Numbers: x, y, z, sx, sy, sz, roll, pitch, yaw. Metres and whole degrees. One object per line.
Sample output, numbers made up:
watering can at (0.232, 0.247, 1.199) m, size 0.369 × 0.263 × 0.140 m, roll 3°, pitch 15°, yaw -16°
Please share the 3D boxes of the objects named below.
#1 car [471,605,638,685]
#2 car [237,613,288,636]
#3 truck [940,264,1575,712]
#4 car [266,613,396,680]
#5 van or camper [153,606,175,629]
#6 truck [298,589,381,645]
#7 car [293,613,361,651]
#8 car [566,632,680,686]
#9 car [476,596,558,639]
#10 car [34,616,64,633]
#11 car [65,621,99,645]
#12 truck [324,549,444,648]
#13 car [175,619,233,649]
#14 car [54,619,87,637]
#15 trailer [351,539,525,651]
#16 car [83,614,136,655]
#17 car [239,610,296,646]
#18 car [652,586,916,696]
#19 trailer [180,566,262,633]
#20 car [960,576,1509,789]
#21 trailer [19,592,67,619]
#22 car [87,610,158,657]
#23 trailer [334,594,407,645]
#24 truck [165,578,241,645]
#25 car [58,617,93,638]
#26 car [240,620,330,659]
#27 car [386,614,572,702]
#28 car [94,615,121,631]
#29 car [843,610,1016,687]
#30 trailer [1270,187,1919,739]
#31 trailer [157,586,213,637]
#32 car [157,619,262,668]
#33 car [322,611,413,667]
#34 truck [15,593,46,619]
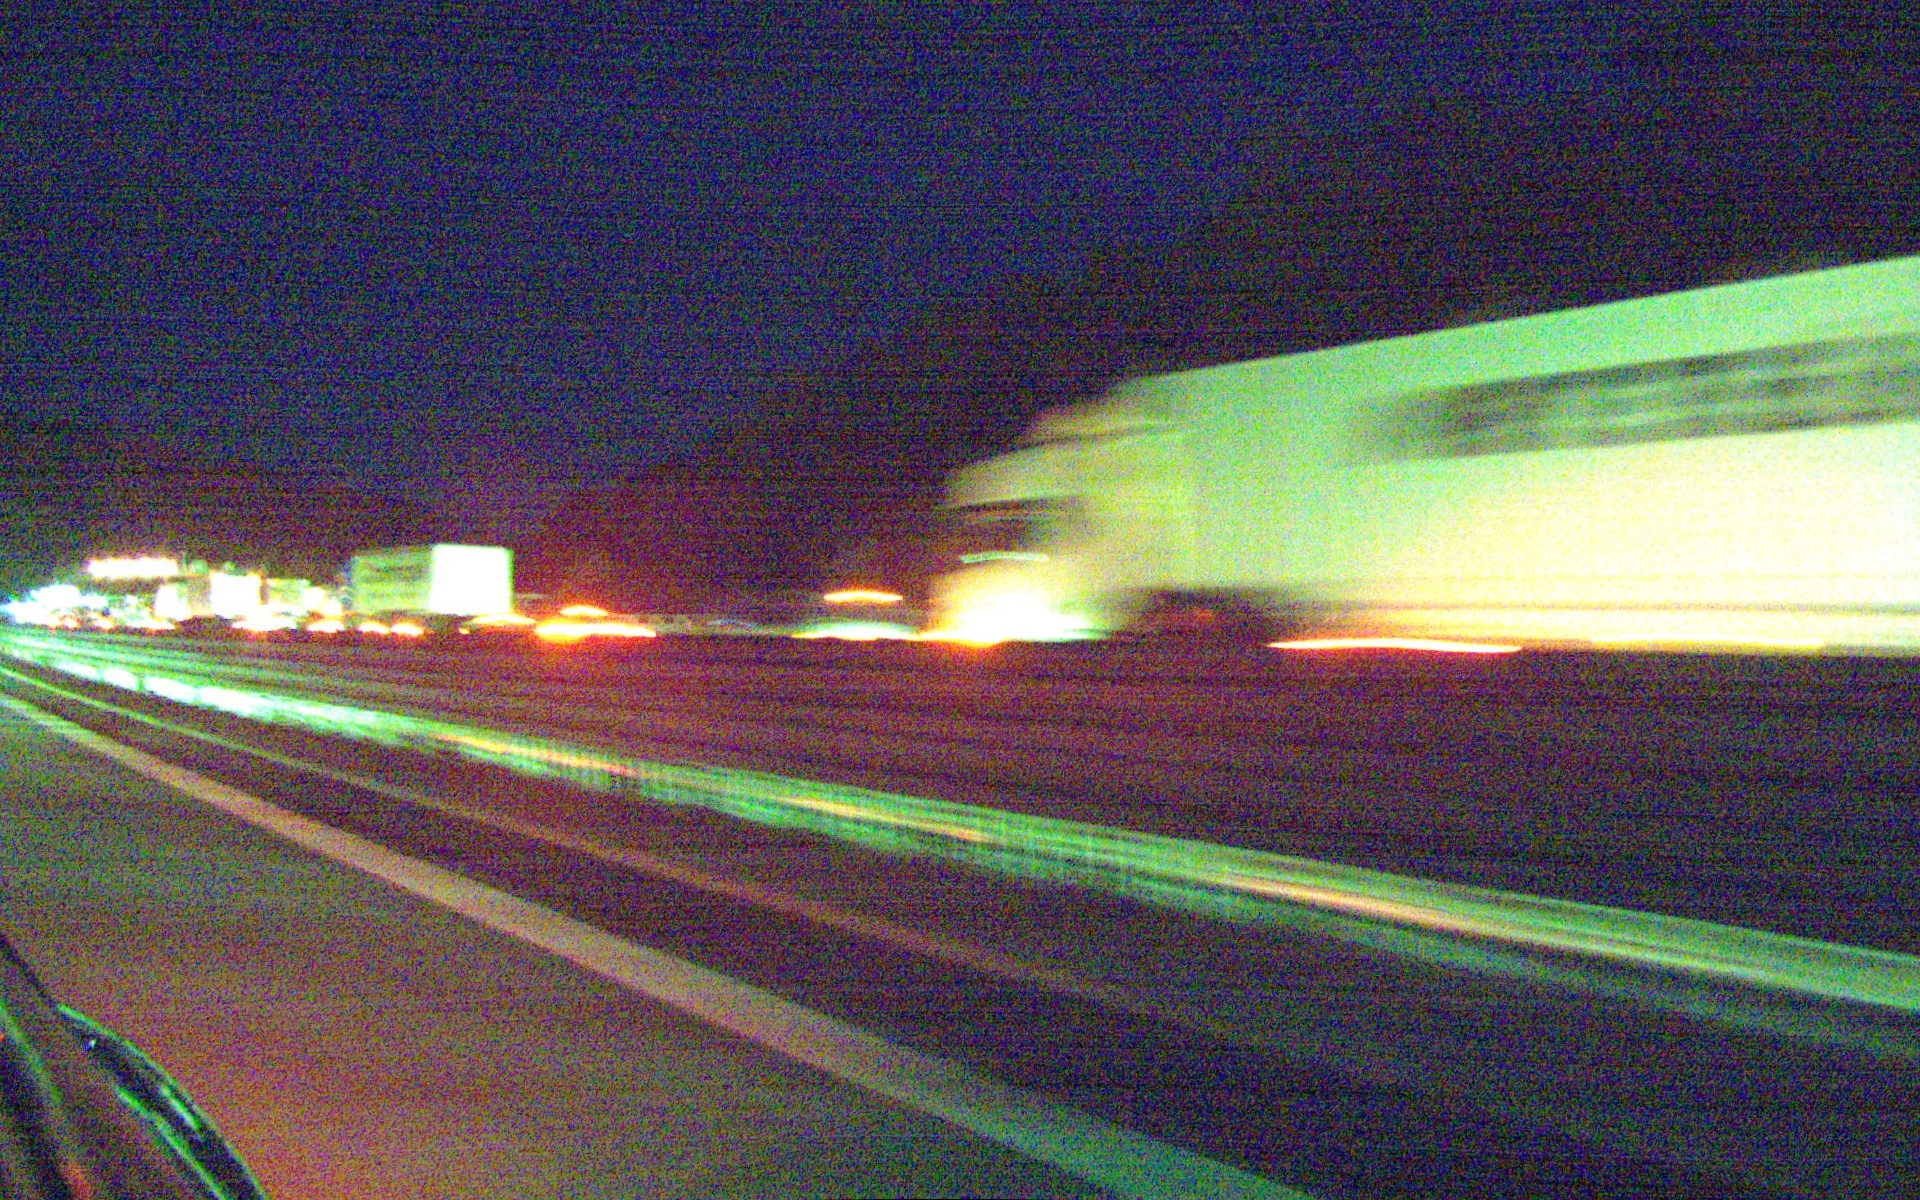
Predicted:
car at (-10.292, 1.074, 25.525) m, size 4.745 × 1.824 × 1.973 m, roll -1°, pitch -1°, yaw 41°
car at (-45.867, 1.603, 66.525) m, size 4.869 × 1.503 × 1.882 m, roll -1°, pitch -1°, yaw 44°
truck at (3.449, -1.125, 12.852) m, size 7.072 × 4.127 × 3.077 m, roll 0°, pitch 3°, yaw 41°
car at (-16.309, 1.136, 26.151) m, size 4.514 × 1.565 × 1.813 m, roll -1°, pitch -1°, yaw 44°
van or camper at (-107.916, 2.409, 137.289) m, size 2.193 × 3.026 × 7.139 m, roll 0°, pitch -1°, yaw -37°
truck at (-38.180, 1.055, 62.144) m, size 7.916 × 3.243 × 2.466 m, roll -1°, pitch -2°, yaw 44°
car at (-31.888, 1.592, 50.921) m, size 1.971 × 1.824 × 4.322 m, roll 1°, pitch -1°, yaw -45°
car at (-10.608, 1.790, 31.670) m, size 4.515 × 1.501 × 1.524 m, roll -1°, pitch -1°, yaw 45°
car at (-19.333, 0.722, 44.148) m, size 3.835 × 1.732 × 1.702 m, roll 0°, pitch 3°, yaw 40°
car at (-86.443, 2.333, 96.065) m, size 1.880 × 1.503 × 4.876 m, roll 0°, pitch 0°, yaw -40°
car at (-59.426, 2.208, 68.495) m, size 1.606 × 1.503 × 4.873 m, roll 0°, pitch 0°, yaw -42°
truck at (-24.367, 0.024, 42.777) m, size 4.929 × 3.946 × 2.800 m, roll -2°, pitch -2°, yaw 39°
car at (-41.349, 1.809, 55.298) m, size 4.870 × 1.503 × 1.882 m, roll 0°, pitch 0°, yaw 45°
car at (-76.628, 2.389, 87.211) m, size 1.879 × 1.503 × 4.877 m, roll 0°, pitch 0°, yaw -39°
trailer at (-20.639, -0.064, 39.739) m, size 8.728 × 3.947 × 2.793 m, roll -2°, pitch -2°, yaw 39°
car at (-42.862, 1.676, 50.954) m, size 1.853 × 1.937 × 4.873 m, roll 0°, pitch 0°, yaw -42°
car at (-39.945, 1.572, 58.302) m, size 1.882 × 1.901 × 5.025 m, roll -1°, pitch 1°, yaw -44°
car at (-3.500, 0.719, 19.323) m, size 5.483 × 1.824 × 1.973 m, roll -1°, pitch -1°, yaw 41°
trailer at (-54.350, 0.092, 74.217) m, size 2.806 × 4.498 × 14.534 m, roll 2°, pitch -2°, yaw -44°
car at (2.289, 0.597, 9.290) m, size 4.513 × 1.437 × 1.823 m, roll -1°, pitch 2°, yaw 43°
trailer at (-151.566, 0.857, 167.440) m, size 2.794 × 4.004 × 15.812 m, roll -1°, pitch 2°, yaw -31°
car at (-36.857, 1.453, 44.490) m, size 5.605 × 1.937 × 1.855 m, roll -2°, pitch -2°, yaw 44°
trailer at (-33.599, 1.100, 57.621) m, size 4.994 × 2.765 × 2.336 m, roll -1°, pitch -2°, yaw 44°
truck at (-58.083, 0.872, 77.587) m, size 5.961 × 4.280 × 2.599 m, roll -1°, pitch 21°, yaw 46°
car at (-67.713, 2.068, 77.474) m, size 1.881 × 1.503 × 4.872 m, roll 0°, pitch 0°, yaw -43°
car at (-26.682, 1.509, 39.942) m, size 4.649 × 1.454 × 1.926 m, roll -1°, pitch -1°, yaw 42°
car at (-9.051, 1.003, 18.857) m, size 4.514 × 1.437 × 1.683 m, roll -1°, pitch -1°, yaw 44°
car at (-83.347, 2.223, 98.950) m, size 1.879 × 1.503 × 4.946 m, roll 0°, pitch 0°, yaw -39°
car at (-0.702, 0.970, 21.498) m, size 3.646 × 1.415 × 1.357 m, roll 0°, pitch 3°, yaw 40°
trailer at (9.050, -1.086, 7.967) m, size 12.442 × 4.118 × 3.059 m, roll 0°, pitch 3°, yaw 41°
trailer at (-69.886, 1.078, 91.065) m, size 2.841 × 4.216 × 14.540 m, roll 1°, pitch -1°, yaw -42°
car at (-24.372, 1.357, 32.811) m, size 4.649 × 1.454 × 1.892 m, roll -1°, pitch -1°, yaw 42°
car at (-18.497, 1.172, 31.519) m, size 4.513 × 1.608 × 1.202 m, roll 0°, pitch -1°, yaw 43°
truck at (-147.438, 0.981, 160.541) m, size 2.853 × 4.001 × 4.012 m, roll -1°, pitch 1°, yaw -31°
